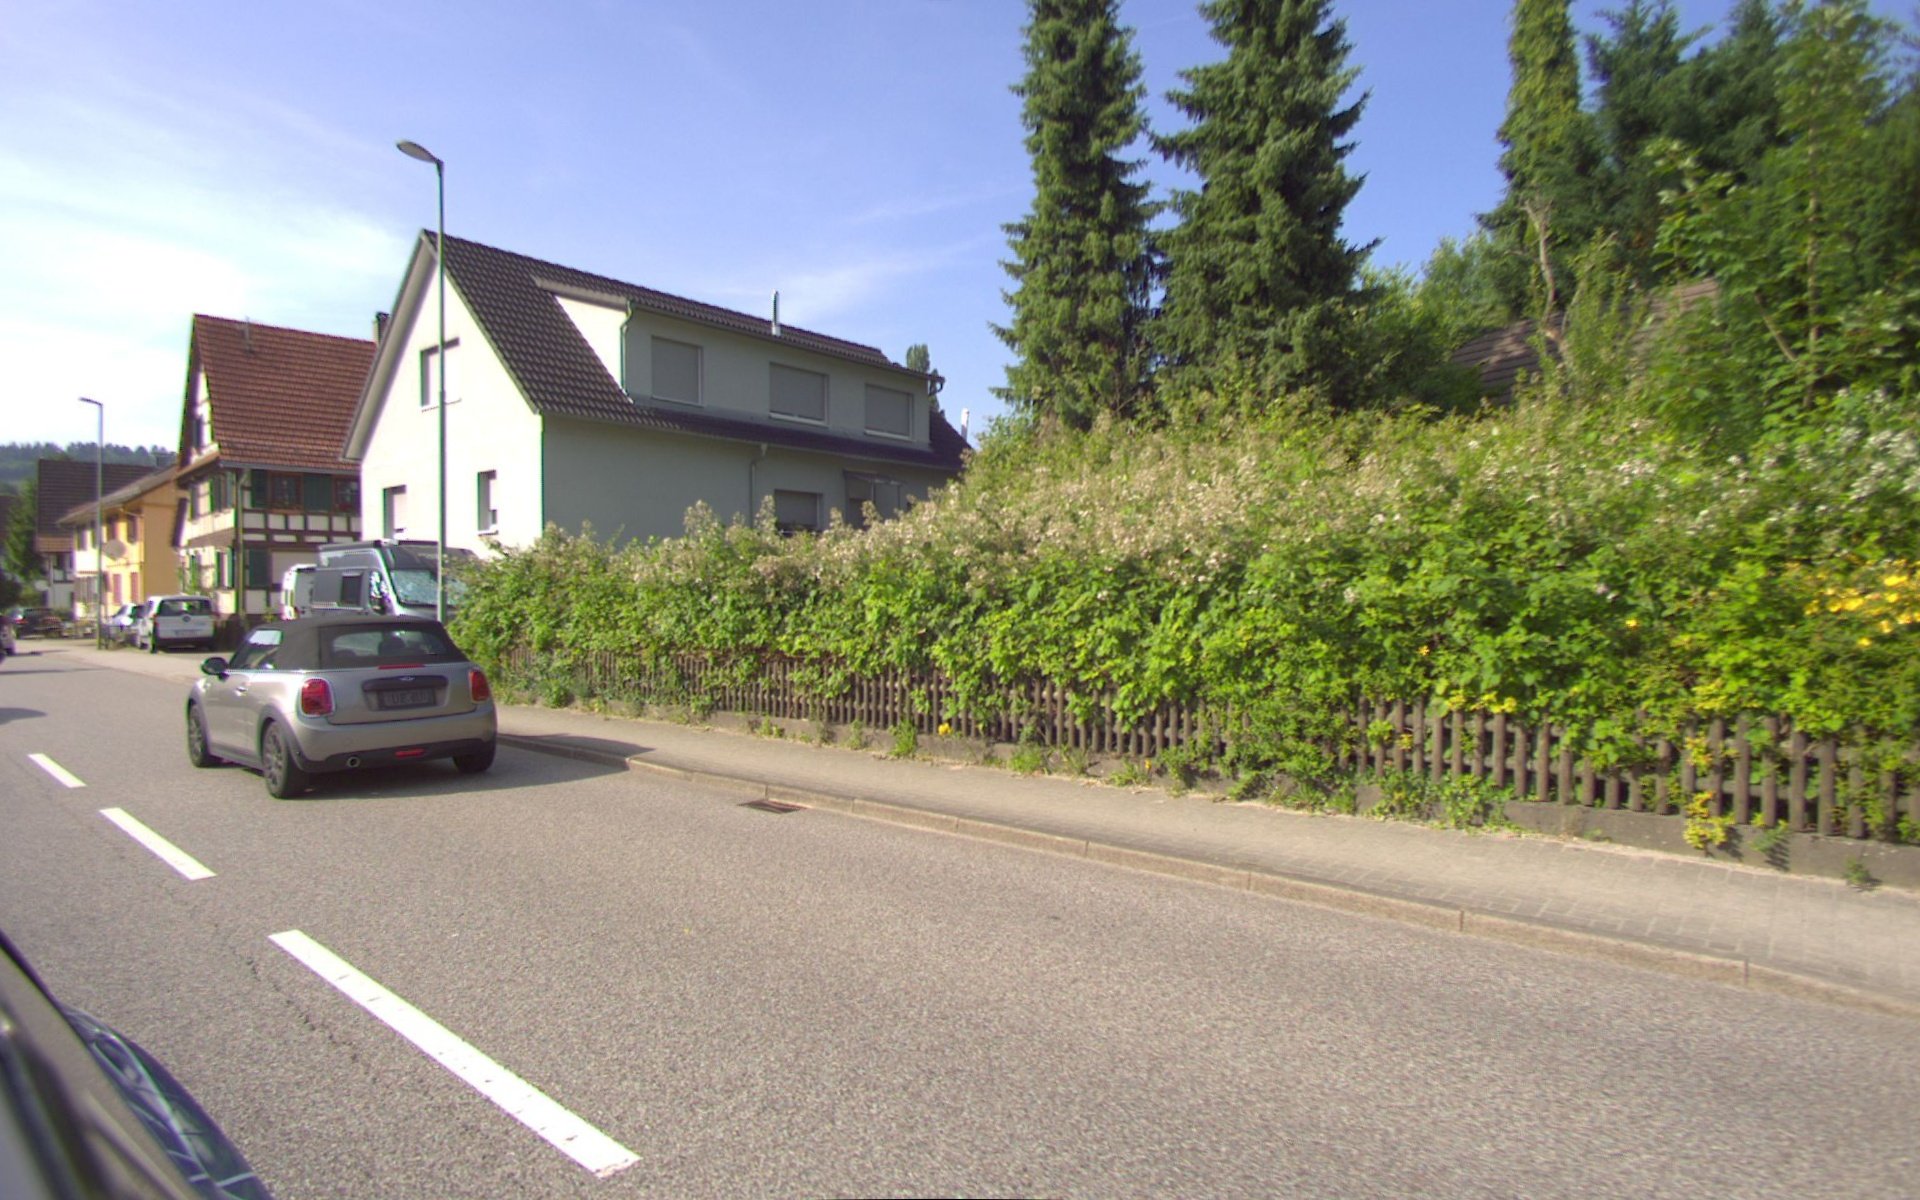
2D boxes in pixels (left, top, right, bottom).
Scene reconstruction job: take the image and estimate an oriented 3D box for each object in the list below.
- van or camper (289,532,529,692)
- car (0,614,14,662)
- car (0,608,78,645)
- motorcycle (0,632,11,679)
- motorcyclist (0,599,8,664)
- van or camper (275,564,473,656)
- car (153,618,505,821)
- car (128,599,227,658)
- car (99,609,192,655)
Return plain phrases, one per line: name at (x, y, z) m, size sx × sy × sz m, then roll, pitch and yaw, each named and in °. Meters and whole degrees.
van or camper at (-10.504, 0.212, 19.031) m, size 5.900 × 2.574 × 2.125 m, roll -1°, pitch 0°, yaw 42°
car at (-32.605, 1.272, 33.576) m, size 1.610 × 1.496 × 4.005 m, roll -2°, pitch 1°, yaw -42°
car at (-42.483, 1.209, 46.619) m, size 4.228 × 1.530 × 1.867 m, roll -1°, pitch 1°, yaw 36°
motorcycle at (-23.370, 1.335, 24.376) m, size 2.182 × 1.076 × 0.646 m, roll -1°, pitch 0°, yaw 44°
motorcyclist at (-23.343, 0.756, 24.188) m, size 0.628 × 1.570 × 0.816 m, roll 0°, pitch 0°, yaw 44°
van or camper at (-18.762, 0.239, 32.578) m, size 5.114 × 2.683 × 2.195 m, roll -3°, pitch 2°, yaw -42°
car at (-5.969, 0.909, 9.379) m, size 3.998 × 1.413 × 1.696 m, roll 0°, pitch 0°, yaw 41°
car at (-24.693, 0.857, 31.893) m, size 4.269 × 1.677 × 1.879 m, roll -1°, pitch 1°, yaw 45°
car at (-29.237, 1.127, 36.290) m, size 4.091 × 1.530 × 1.865 m, roll -1°, pitch -1°, yaw 40°
